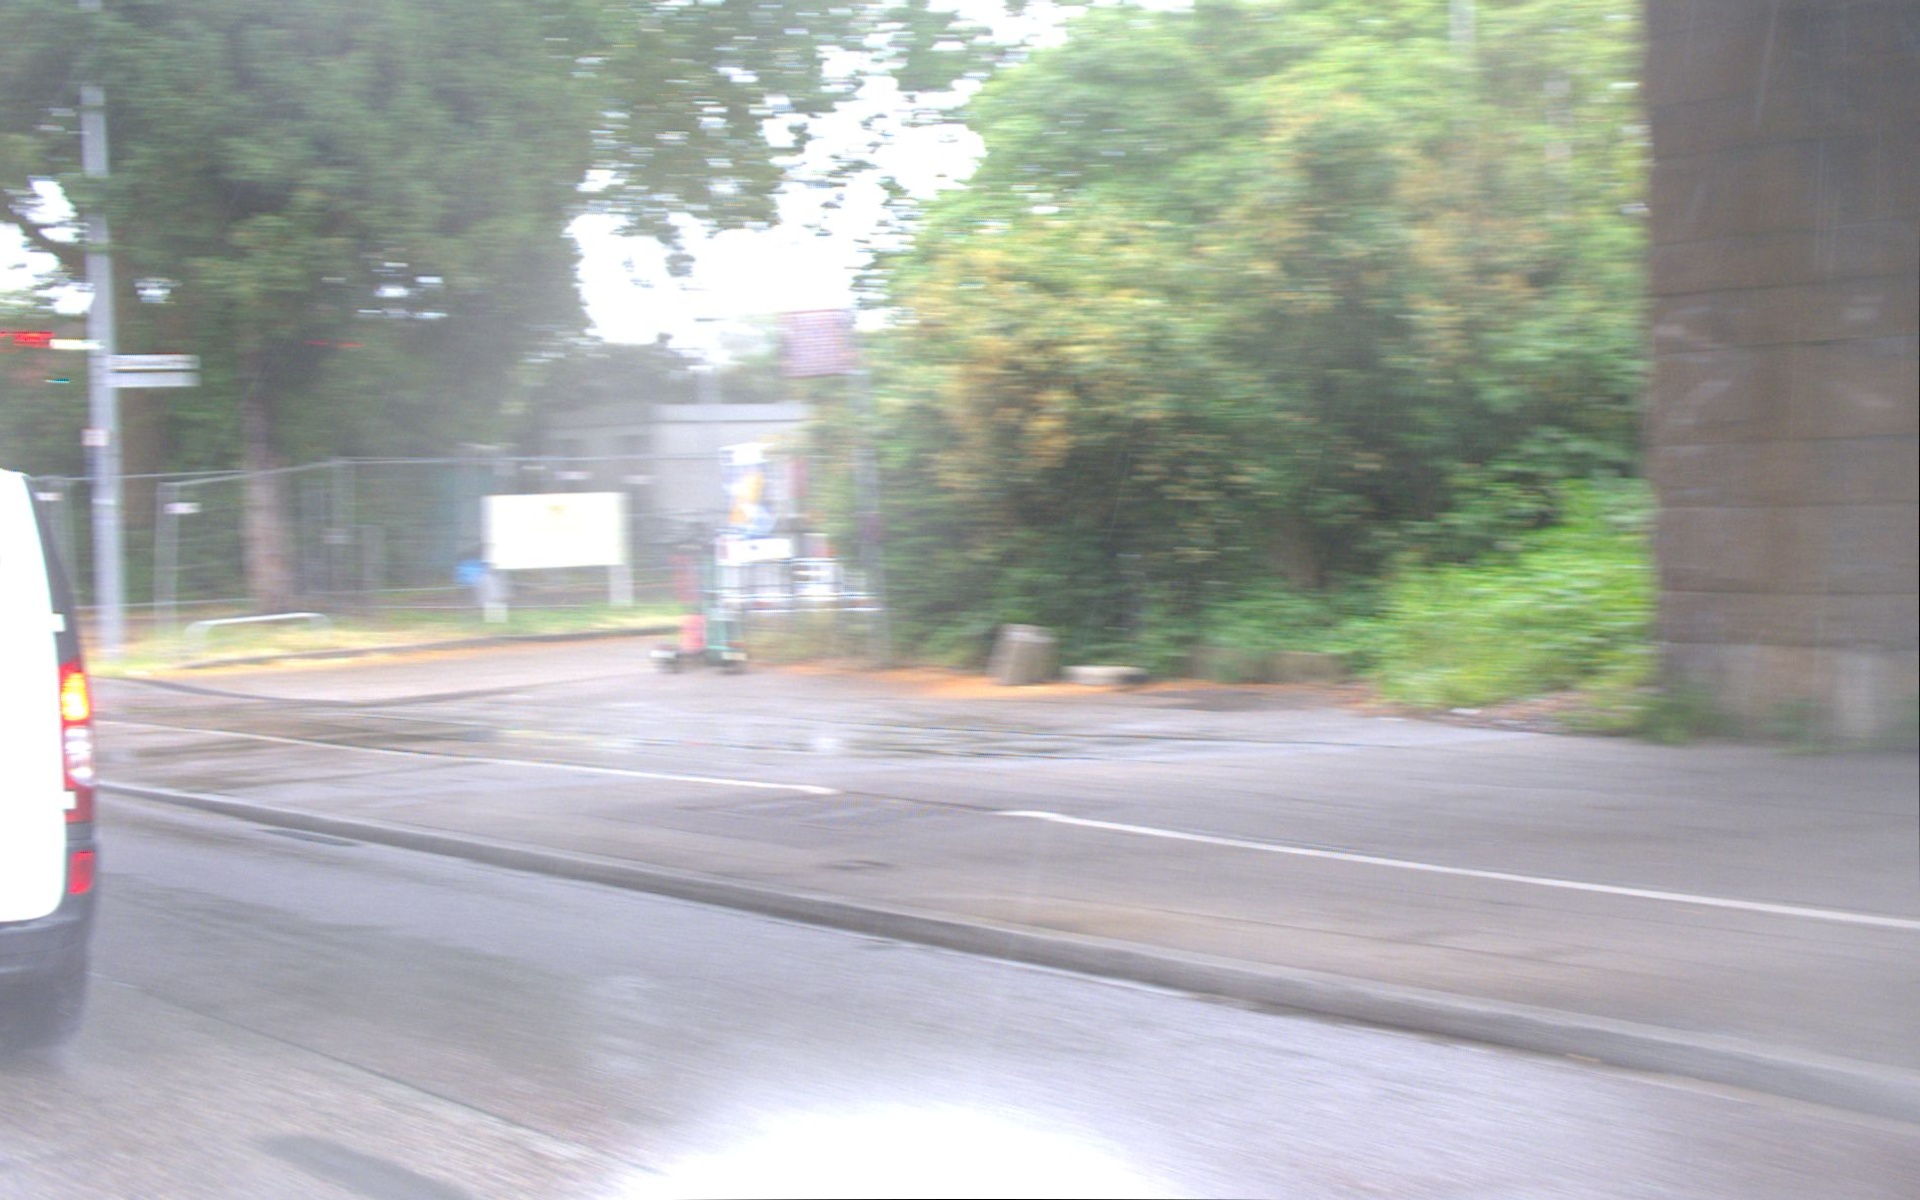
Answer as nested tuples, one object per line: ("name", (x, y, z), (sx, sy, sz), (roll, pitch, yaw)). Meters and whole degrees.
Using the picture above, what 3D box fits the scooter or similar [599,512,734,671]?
("scooter or similar", (-2.610, -0.094, 30.745), (0.708, 1.306, 1.557), (-6, 1, 10))

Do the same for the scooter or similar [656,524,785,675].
("scooter or similar", (-2.041, -0.023, 29.129), (0.770, 1.174, 1.548), (-4, 3, -13))

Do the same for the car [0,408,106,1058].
("car", (-4.094, 0.361, 10.881), (1.756, 1.771, 4.001), (-2, 2, -27))
